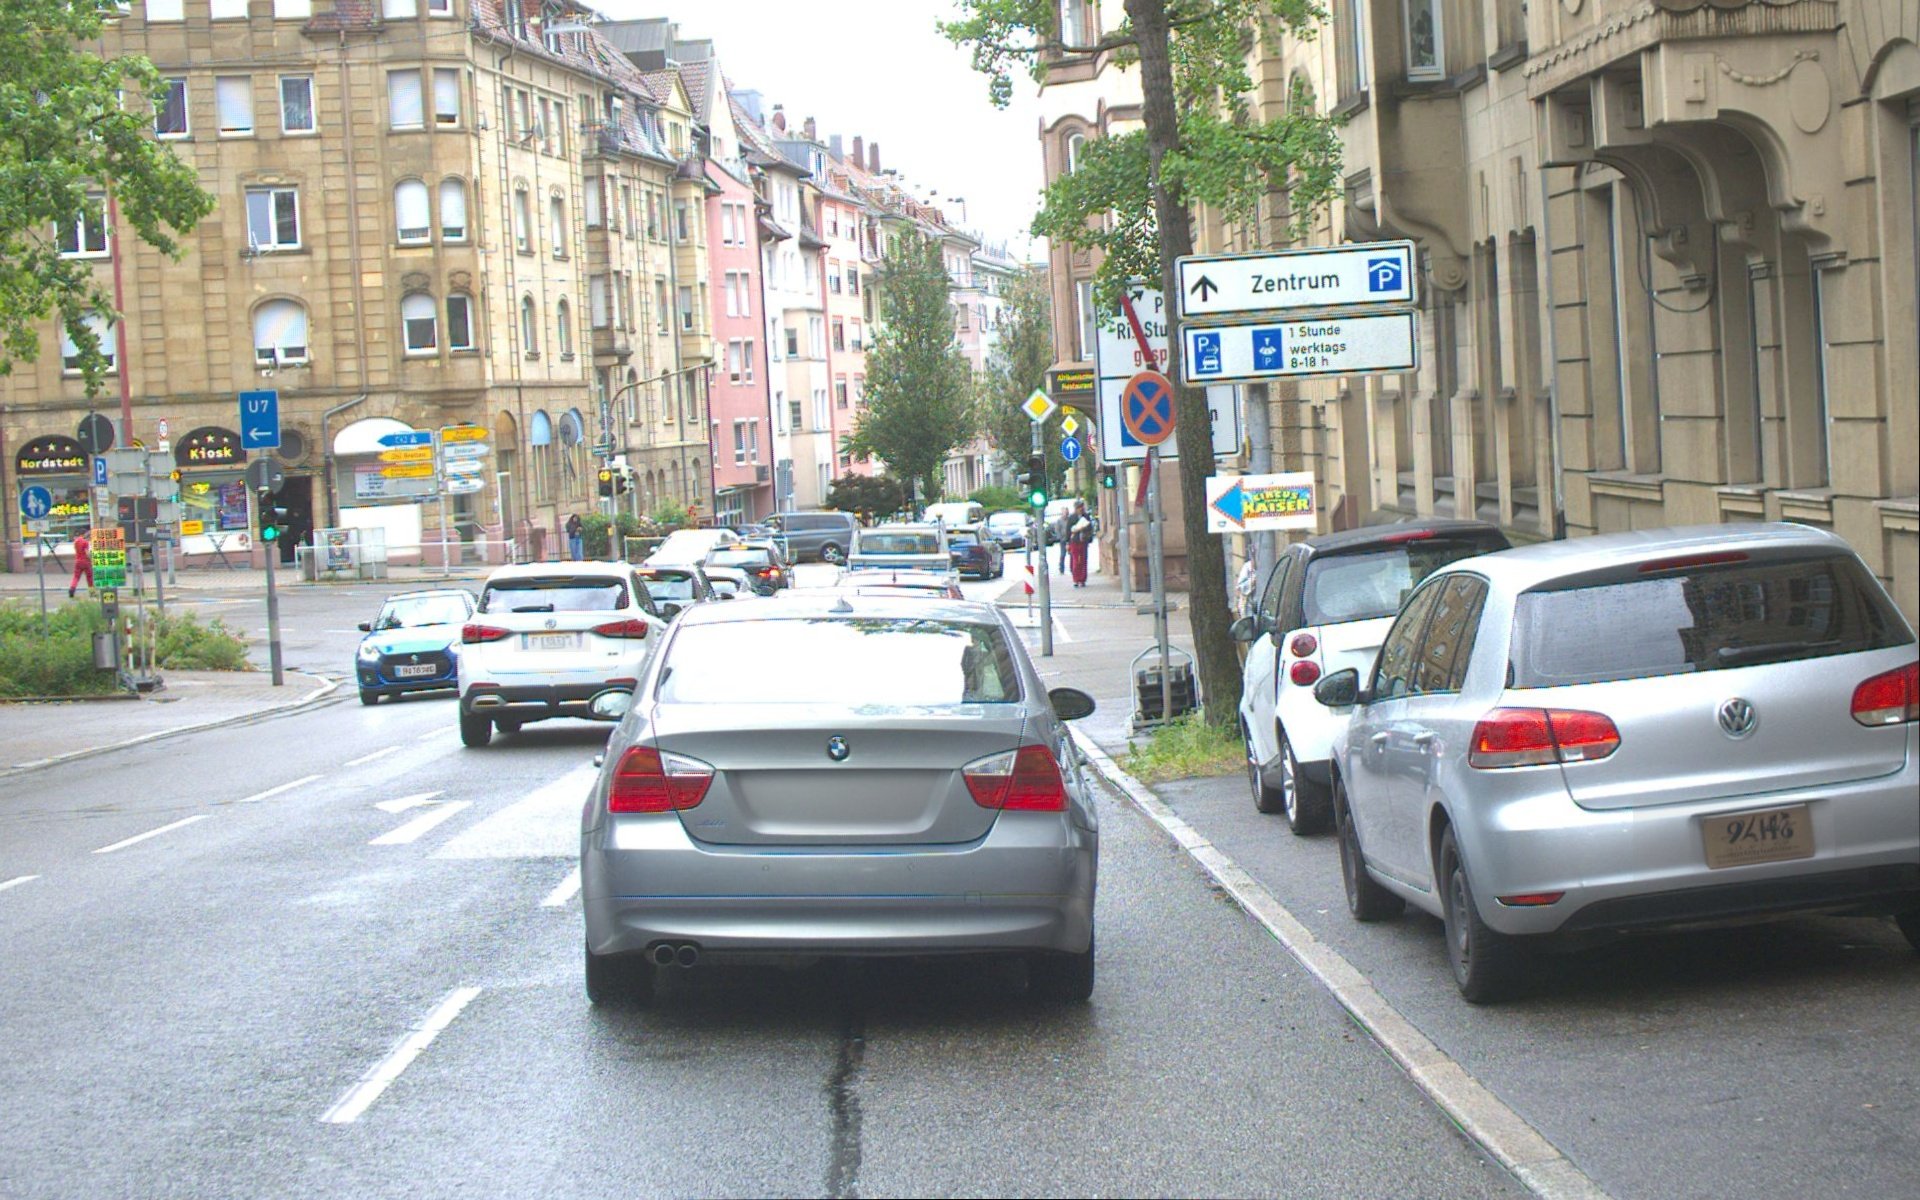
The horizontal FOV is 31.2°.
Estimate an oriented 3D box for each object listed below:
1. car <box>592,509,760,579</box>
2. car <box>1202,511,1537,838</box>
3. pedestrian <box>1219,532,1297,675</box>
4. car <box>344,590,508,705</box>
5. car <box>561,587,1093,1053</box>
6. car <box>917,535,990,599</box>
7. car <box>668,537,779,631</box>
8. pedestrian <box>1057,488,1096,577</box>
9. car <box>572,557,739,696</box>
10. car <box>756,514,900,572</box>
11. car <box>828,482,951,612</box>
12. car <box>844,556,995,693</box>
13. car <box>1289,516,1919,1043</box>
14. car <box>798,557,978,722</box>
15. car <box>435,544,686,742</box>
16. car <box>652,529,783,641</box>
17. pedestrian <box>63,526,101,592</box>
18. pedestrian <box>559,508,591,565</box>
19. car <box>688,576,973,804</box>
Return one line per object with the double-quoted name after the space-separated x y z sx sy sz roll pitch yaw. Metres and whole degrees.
-6.731 -1.324 81.837 1.997 1.573 3.993 1 0 32 "car"
2.197 0.363 19.051 1.299 1.538 2.976 -6 1 -1 "car"
3.282 0.037 37.899 0.631 1.503 0.693 -6 1 -1 "pedestrian"
-7.385 0.634 47.827 1.715 1.445 3.742 -2 1 -1 "car"
-0.394 0.674 12.430 1.623 1.378 3.615 -1 1 1 "car"
-0.143 -0.817 87.009 1.725 1.547 4.000 1 0 1 "car"
-4.453 -0.325 65.179 1.759 1.702 4.000 -1 1 1 "car"
2.540 -1.479 75.075 0.742 1.903 0.659 -2 1 -1 "pedestrian"
-3.932 0.312 44.941 1.759 1.702 4.000 -1 1 1 "car"
-4.810 -2.092 126.017 5.176 2.007 2.698 1 0 -1 "car"
-1.172 -0.876 57.954 1.993 2.099 4.000 0 0 -1 "car"
-0.532 0.267 42.695 1.759 1.562 4.000 -1 1 -1 "car"
2.375 0.520 12.554 1.759 1.446 4.000 -6 1 -1 "car"
-0.634 0.328 32.831 1.595 1.459 4.000 0 1 1 "car"
-3.653 0.346 32.079 1.868 1.620 4.000 -3 1 -1 "car"
-3.845 -0.257 54.993 1.759 1.702 4.000 -1 1 1 "car"
-21.471 -1.007 84.066 0.537 1.572 0.719 -2 1 22 "pedestrian"
-10.868 -1.787 97.091 0.732 1.572 0.528 -2 1 8 "pedestrian"
-0.808 0.556 23.681 1.759 1.378 4.000 -1 1 1 "car"
